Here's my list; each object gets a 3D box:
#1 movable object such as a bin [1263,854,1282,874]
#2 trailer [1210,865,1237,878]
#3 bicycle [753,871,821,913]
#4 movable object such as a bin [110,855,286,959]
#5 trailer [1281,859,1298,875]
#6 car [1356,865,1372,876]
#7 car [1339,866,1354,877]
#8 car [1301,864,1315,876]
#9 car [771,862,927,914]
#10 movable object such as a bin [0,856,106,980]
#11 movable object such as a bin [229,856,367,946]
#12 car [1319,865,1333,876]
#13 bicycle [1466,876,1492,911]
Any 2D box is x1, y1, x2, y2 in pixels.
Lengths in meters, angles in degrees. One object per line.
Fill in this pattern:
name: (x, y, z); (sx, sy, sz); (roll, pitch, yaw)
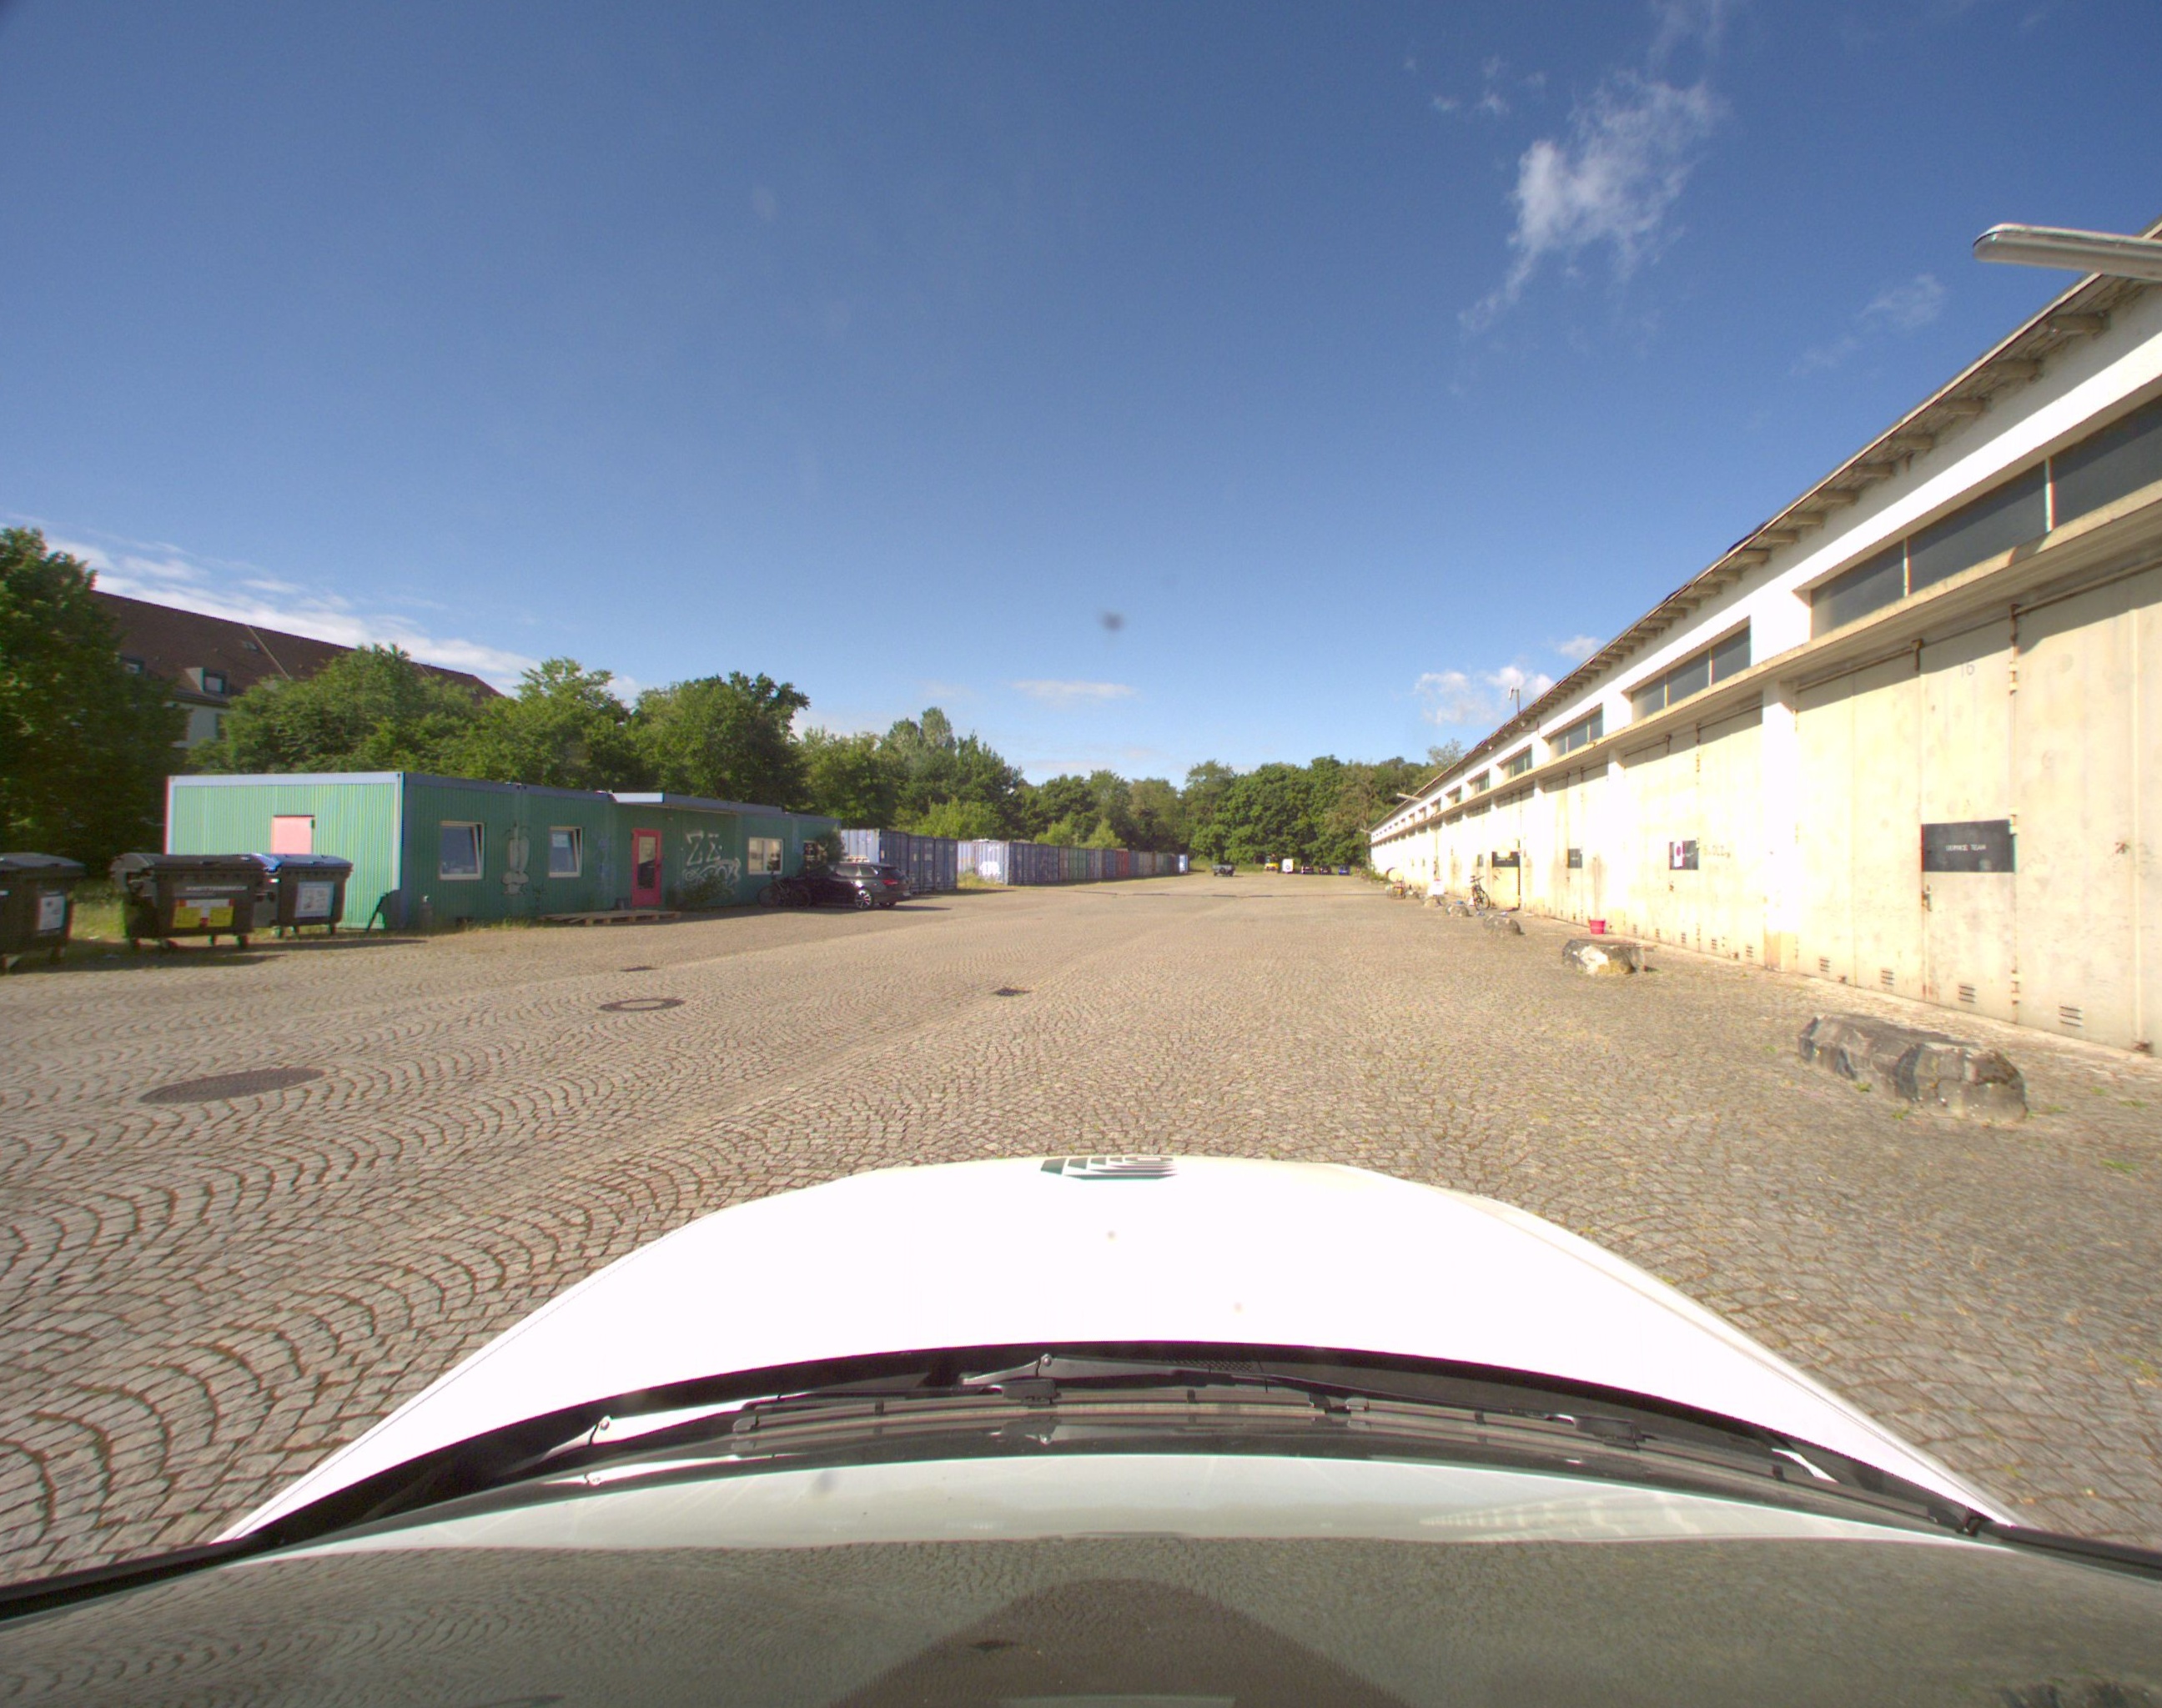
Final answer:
movable object such as a bin: (28.384, 1.435, 120.393); (2.288, 2.896, 5.777); (2, 1, 17)
trailer: (17.824, 2.170, 101.822); (2.685, 1.465, 6.272); (2, 0, 15)
bicycle: (-8.659, 1.099, 23.997); (1.791, 1.170, 0.671); (1, -1, 14)
movable object such as a bin: (-13.285, 0.765, 12.315); (1.010, 1.458, 1.446); (1, -1, 16)
trailer: (30.476, 1.907, 119.156); (2.176, 2.094, 5.776); (2, 1, 16)
car: (40.205, 2.377, 115.614); (1.729, 1.436, 4.206); (2, 1, 23)
car: (37.462, 2.415, 114.941); (1.729, 1.436, 4.205); (2, 1, 22)
car: (32.366, 2.238, 116.110); (1.849, 1.589, 4.314); (2, 1, 16)
car: (-7.221, 1.028, 25.493); (4.221, 1.449, 1.938); (1, -1, 14)
movable object such as a bin: (-13.408, 0.763, 10.146); (1.159, 1.458, 1.424); (2, -1, -31)
movable object such as a bin: (-13.529, 0.780, 14.136); (0.878, 1.458, 1.443); (1, -1, 6)
car: (34.844, 2.322, 115.770); (1.849, 1.470, 4.314); (2, 1, 16)
bicycle: (12.766, 1.259, 26.084); (0.658, 1.068, 1.835); (1, -1, 28)
